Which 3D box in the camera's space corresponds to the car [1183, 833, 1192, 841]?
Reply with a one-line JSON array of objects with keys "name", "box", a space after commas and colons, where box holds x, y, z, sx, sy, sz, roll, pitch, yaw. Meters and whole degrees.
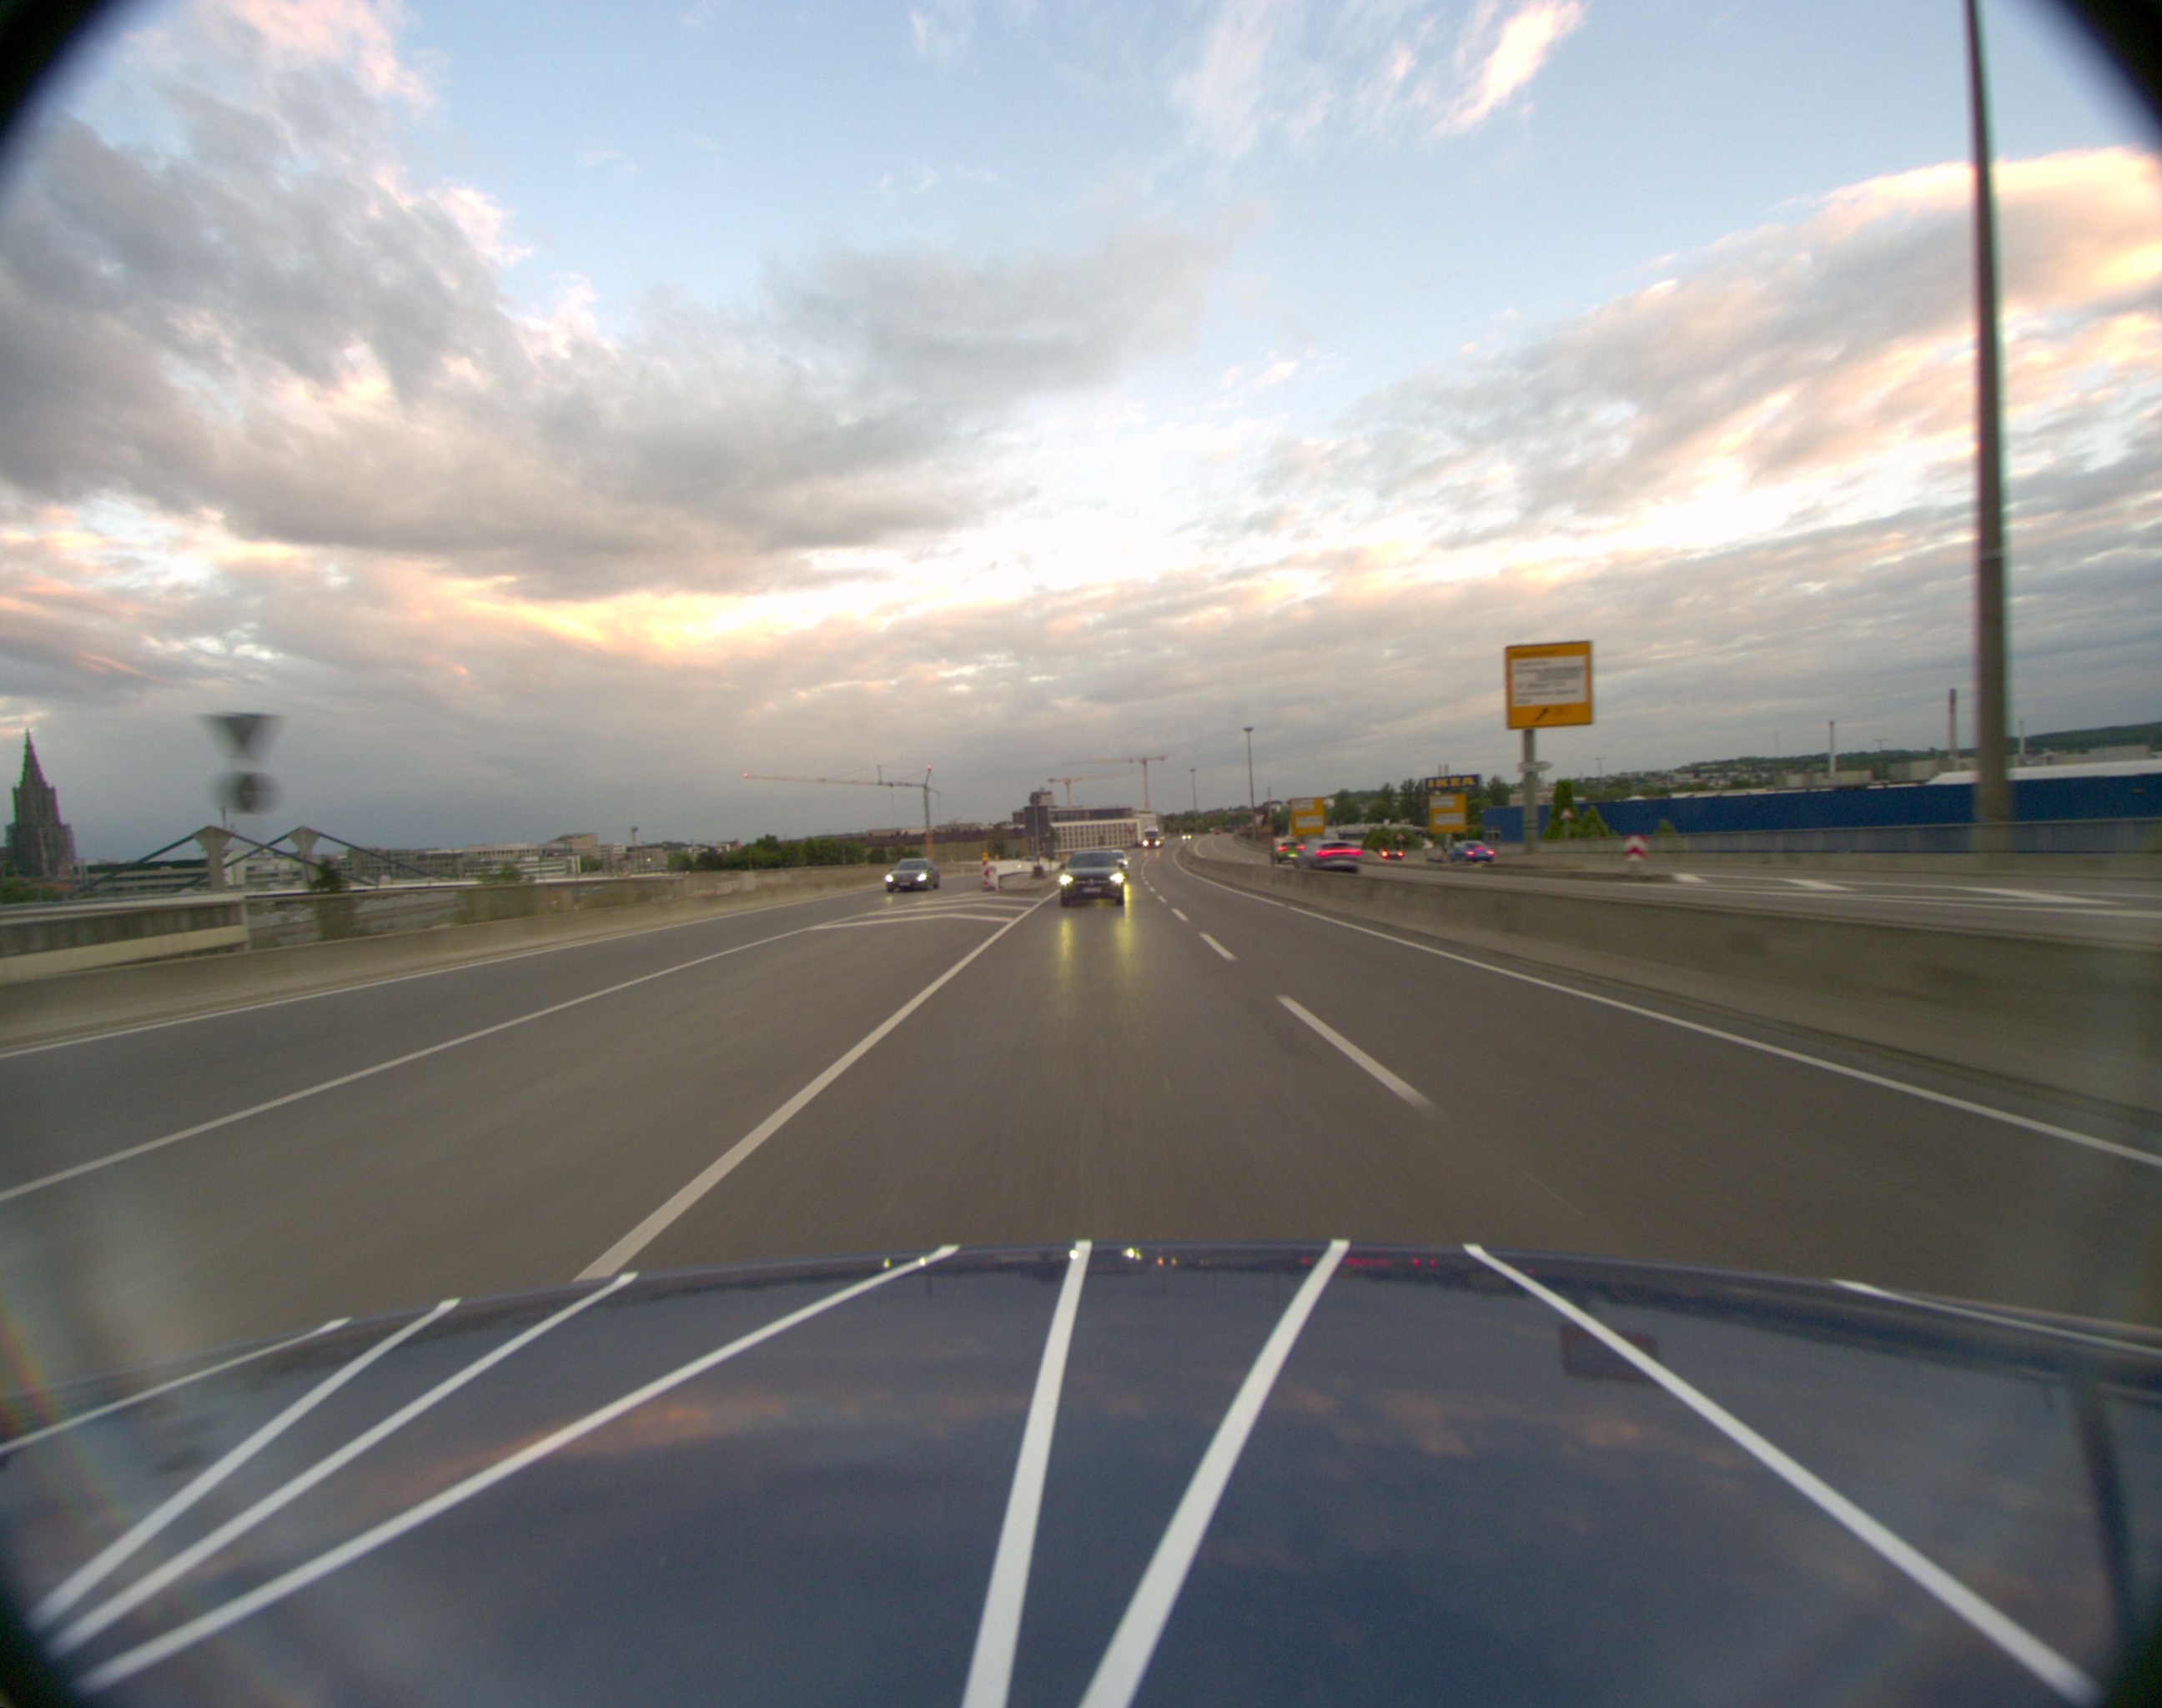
[{"name": "car", "box": [28.109, -4.606, 201.264, 1.997, 2.002, 4.002, -2, 2, 12]}]

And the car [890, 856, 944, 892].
[{"name": "car", "box": [-7.606, 0.898, 35.555, 1.755, 1.482, 3.998, -3, 1, -2]}]

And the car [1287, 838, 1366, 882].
[{"name": "car", "box": [9.934, 0.187, 31.057, 1.815, 1.526, 4.544, -3, 2, 1]}]

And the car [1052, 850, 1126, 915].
[{"name": "car", "box": [0.332, 0.727, 21.468, 1.823, 1.602, 4.214, -2, 0, 4]}]

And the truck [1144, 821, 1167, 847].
[{"name": "truck", "box": [13.415, -3.586, 135.645, 3.163, 4.370, 8.796, -2, 2, 11]}]

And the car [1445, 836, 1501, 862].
[{"name": "car", "box": [25.885, -0.345, 50.273, 1.901, 1.587, 4.164, -2, 0, 7]}]

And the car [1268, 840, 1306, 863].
[{"name": "car", "box": [14.088, -0.199, 52.101, 1.714, 1.486, 4.081, -2, 1, 4]}]

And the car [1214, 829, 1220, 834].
[{"name": "car", "box": [44.616, -7.297, 249.787, 1.832, 1.472, 4.289, -2, 2, 12]}]

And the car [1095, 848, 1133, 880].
[{"name": "car", "box": [1.900, 0.550, 42.665, 1.890, 1.641, 4.345, -3, 0, 4]}]

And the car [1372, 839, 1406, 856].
[{"name": "car", "box": [27.798, -0.603, 68.674, 1.800, 1.477, 3.843, -2, 1, 6]}]
